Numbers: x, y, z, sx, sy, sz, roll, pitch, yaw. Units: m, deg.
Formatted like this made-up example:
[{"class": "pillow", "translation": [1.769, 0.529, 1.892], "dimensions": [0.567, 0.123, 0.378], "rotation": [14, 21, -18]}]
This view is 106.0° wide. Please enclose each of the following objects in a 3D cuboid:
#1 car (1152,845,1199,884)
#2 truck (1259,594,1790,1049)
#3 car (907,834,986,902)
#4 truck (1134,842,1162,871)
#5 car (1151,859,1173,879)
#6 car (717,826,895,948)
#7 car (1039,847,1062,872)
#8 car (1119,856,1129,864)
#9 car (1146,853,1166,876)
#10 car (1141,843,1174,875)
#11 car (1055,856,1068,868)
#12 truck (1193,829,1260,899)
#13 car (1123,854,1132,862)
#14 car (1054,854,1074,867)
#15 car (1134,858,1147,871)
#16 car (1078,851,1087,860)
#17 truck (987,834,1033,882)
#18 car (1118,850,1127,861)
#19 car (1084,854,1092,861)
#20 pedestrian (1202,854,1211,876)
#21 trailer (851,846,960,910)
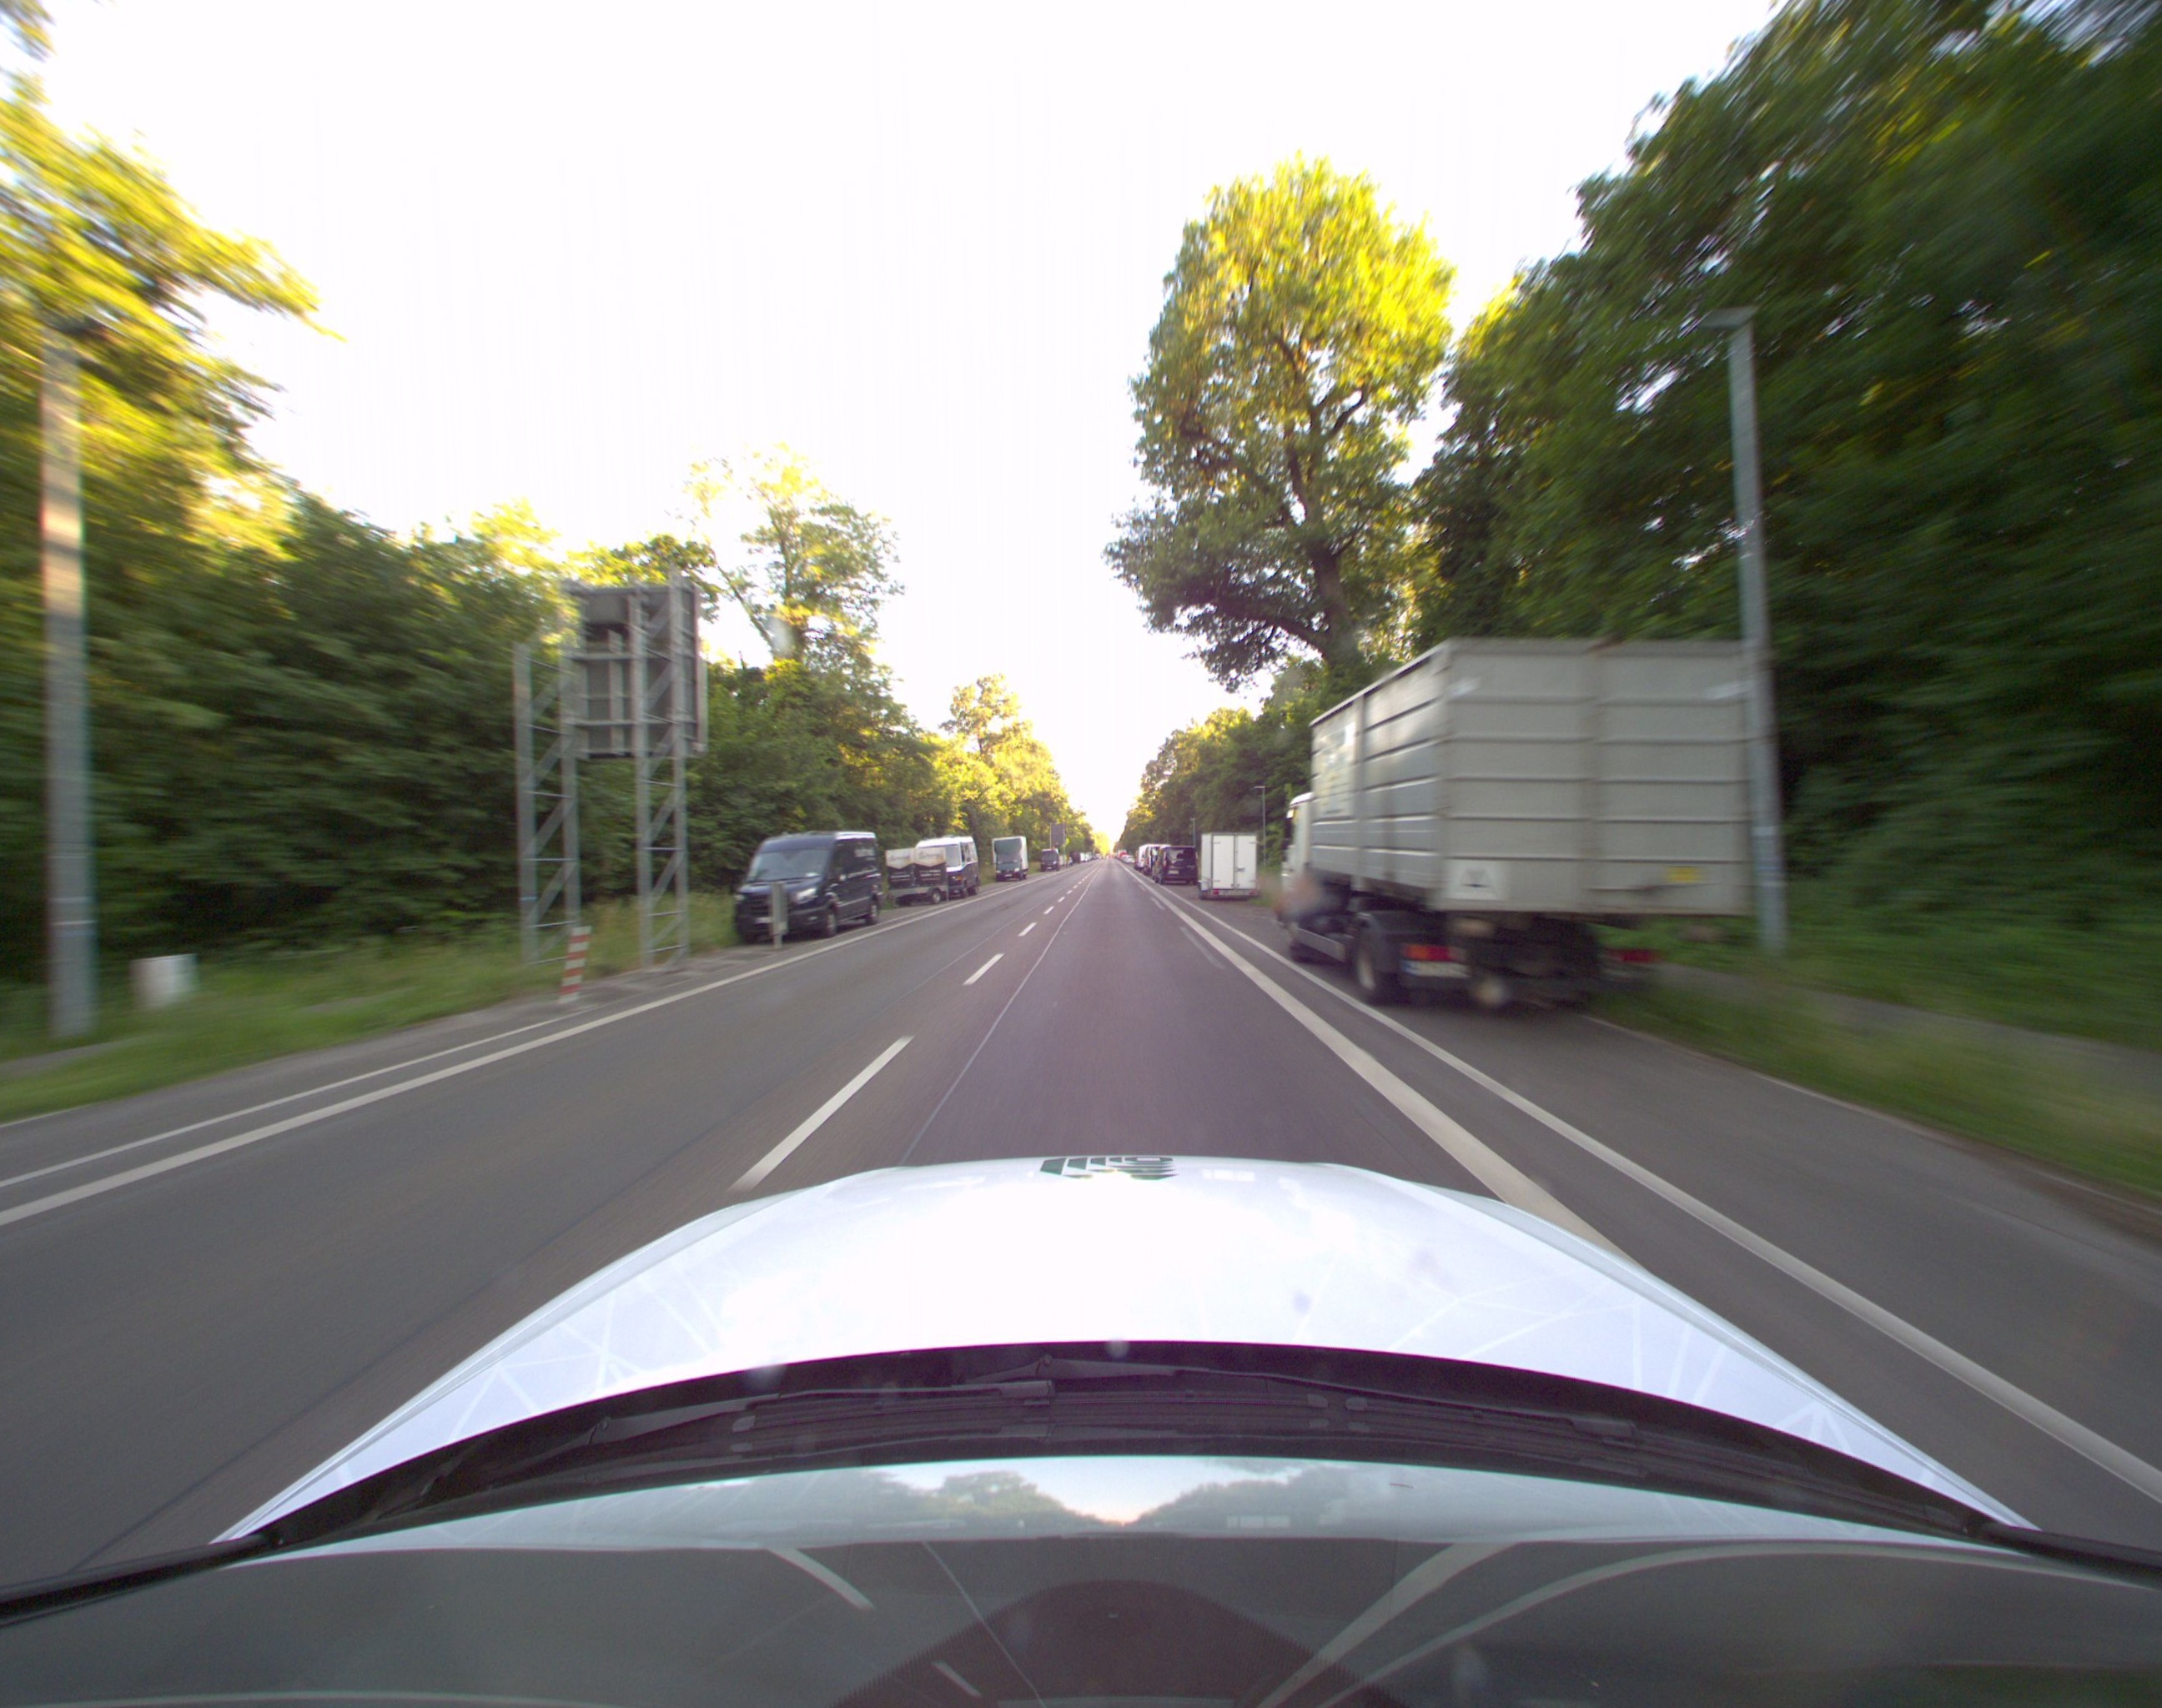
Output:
[{"class": "car", "translation": [4.990, 0.555, 43.396], "dimensions": [1.987, 1.955, 4.298], "rotation": [-1, 0, 0]}, {"class": "truck", "translation": [3.972, -0.206, 9.496], "dimensions": [2.578, 3.255, 7.227], "rotation": [-1, 0, 3]}, {"class": "car", "translation": [-5.818, 0.580, 36.011], "dimensions": [2.241, 2.647, 5.723], "rotation": [-3, 0, 2]}, {"class": "truck", "translation": [6.157, 0.243, 75.435], "dimensions": [2.135, 2.660, 4.298], "rotation": [-1, 0, 0]}, {"class": "car", "translation": [5.160, 0.947, 52.068], "dimensions": [1.143, 1.252, 2.753], "rotation": [-1, 0, 0]}, {"class": "car", "translation": [-6.296, 0.673, 19.584], "dimensions": [1.986, 2.364, 5.768], "rotation": [-4, 0, 2]}, {"class": "car", "translation": [-3.546, 0.591, 96.221], "dimensions": [2.178, 2.788, 5.336], "rotation": [-3, 0, 2]}, {"class": "car", "translation": [7.420, 0.966, 140.642], "dimensions": [1.422, 1.222, 3.413], "rotation": [-4, 0, 2]}, {"class": "car", "translation": [5.222, 0.747, 56.834], "dimensions": [1.143, 1.546, 2.753], "rotation": [-1, 0, 0]}, {"class": "car", "translation": [5.860, 0.371, 62.655], "dimensions": [2.135, 2.313, 4.298], "rotation": [-1, 0, 0]}, {"class": "car", "translation": [-2.828, 1.102, 117.498], "dimensions": [1.765, 1.672, 4.000], "rotation": [0, 0, 0]}, {"class": "truck", "translation": [5.068, 0.352, 28.900], "dimensions": [1.877, 2.283, 4.304], "rotation": [-1, 0, 4]}, {"class": "car", "translation": [8.974, 0.832, 158.196], "dimensions": [1.639, 1.486, 4.002], "rotation": [0, 0, 2]}, {"class": "car", "translation": [-2.622, 0.971, 125.915], "dimensions": [1.685, 2.013, 4.020], "rotation": [0, 0, 20]}, {"class": "car", "translation": [5.902, 1.055, 81.057], "dimensions": [1.143, 1.252, 2.753], "rotation": [-1, 0, 0]}, {"class": "car", "translation": [0.414, 0.394, 203.786], "dimensions": [1.988, 2.014, 3.998], "rotation": [-2, -2, -1]}, {"class": "truck", "translation": [-5.293, 0.286, 61.593], "dimensions": [2.495, 3.328, 6.844], "rotation": [-3, 0, 2]}, {"class": "car", "translation": [11.414, 0.388, 222.559], "dimensions": [2.305, 3.093, 5.641], "rotation": [0, 0, 2]}, {"class": "car", "translation": [2.009, 0.930, 225.922], "dimensions": [1.985, 2.013, 4.003], "rotation": [-3, 0, 3]}, {"class": "pedestrian", "translation": [8.477, 0.745, 55.085], "dimensions": [0.464, 1.417, 0.717], "rotation": [-3, -1, 2]}, {"class": "trailer", "translation": [-6.479, 0.853, 30.492], "dimensions": [1.945, 2.155, 3.951], "rotation": [-3, 0, 23]}]
